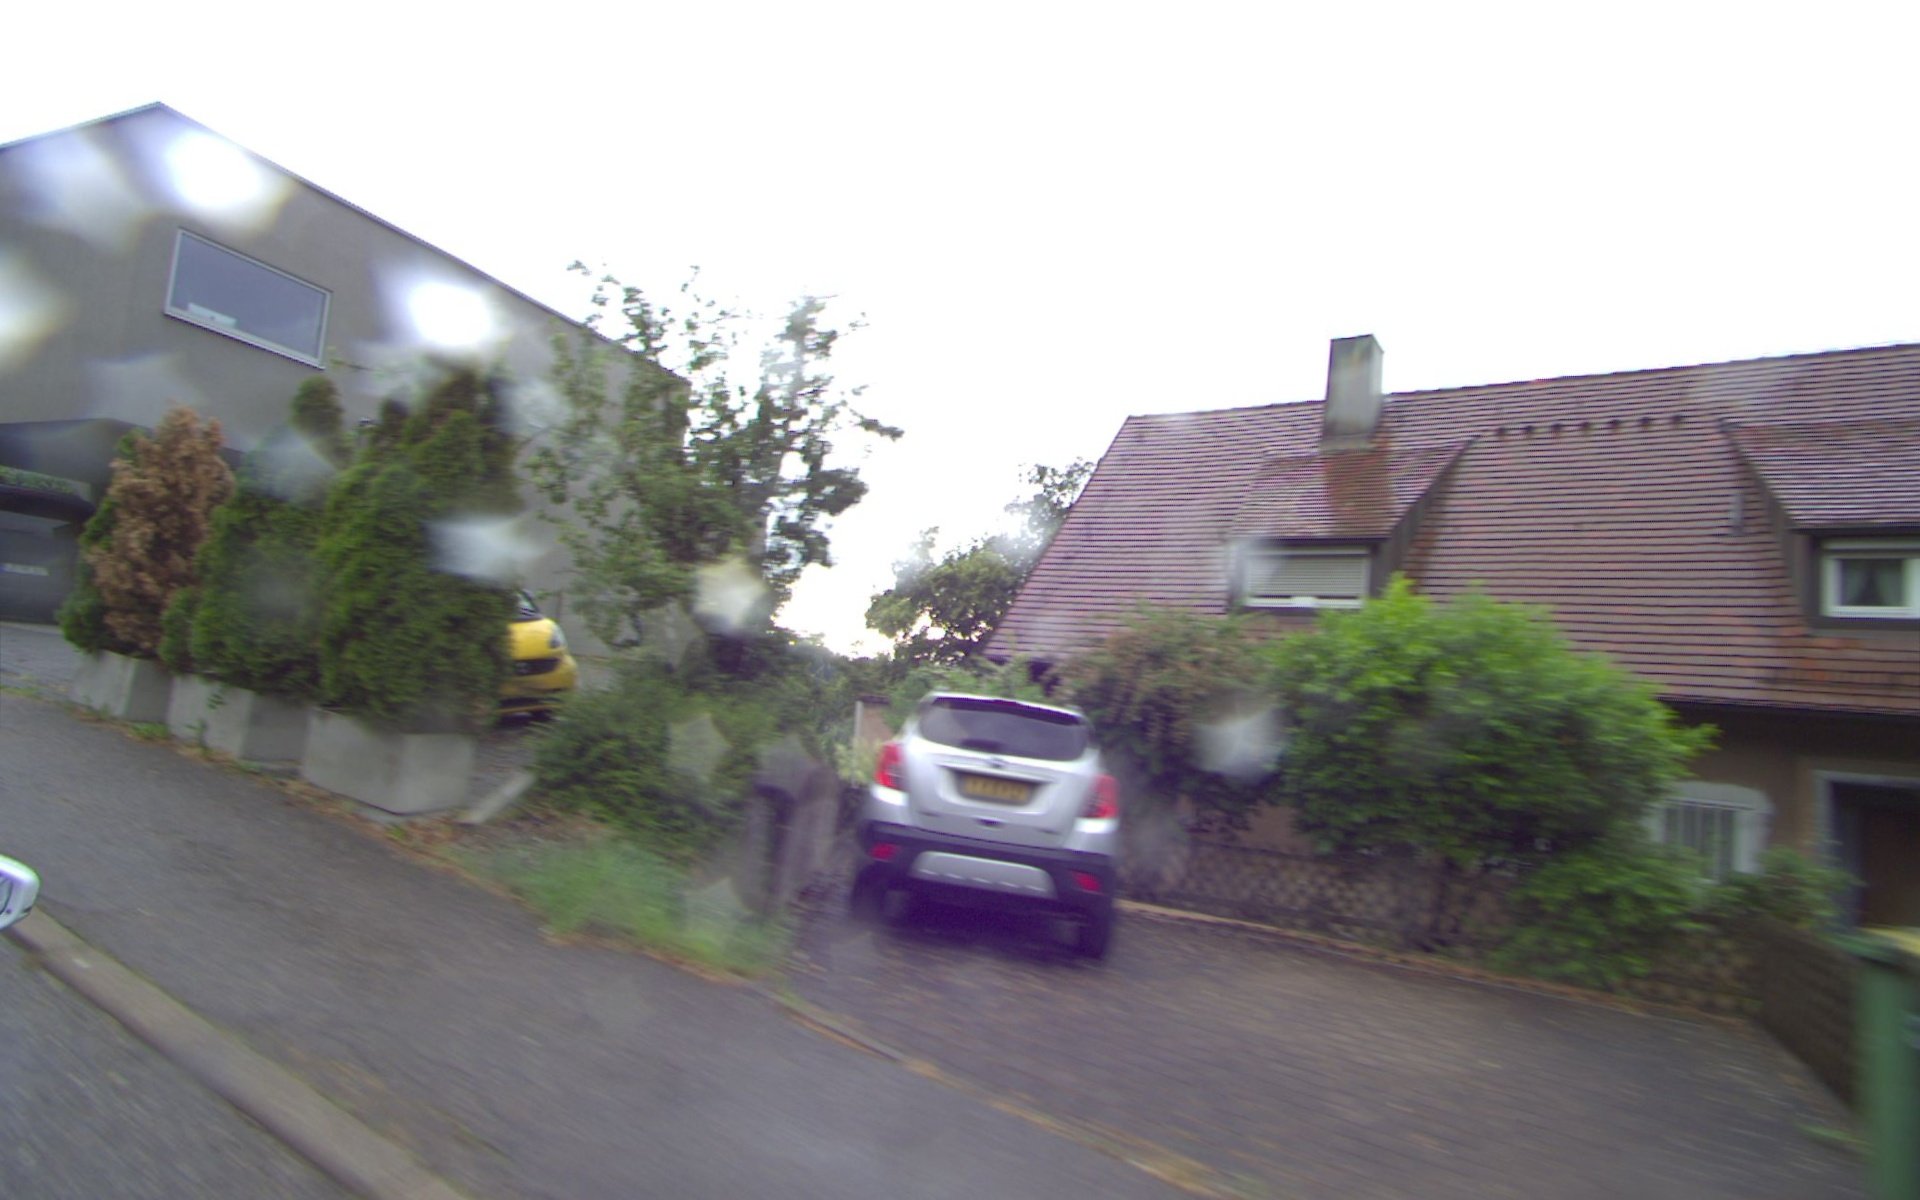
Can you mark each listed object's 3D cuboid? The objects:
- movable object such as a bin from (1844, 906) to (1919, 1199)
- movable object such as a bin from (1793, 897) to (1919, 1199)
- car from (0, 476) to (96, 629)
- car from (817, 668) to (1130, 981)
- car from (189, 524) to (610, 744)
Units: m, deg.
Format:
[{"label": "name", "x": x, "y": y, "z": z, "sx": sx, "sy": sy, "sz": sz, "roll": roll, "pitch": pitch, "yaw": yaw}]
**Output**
[{"label": "movable object such as a bin", "x": 3.302, "y": 1.635, "z": 3.192, "sx": 0.584, "sy": 1.128, "sz": 0.507, "roll": 7, "pitch": -5, "yaw": 30}, {"label": "movable object such as a bin", "x": 3.600, "y": 1.780, "z": 3.752, "sx": 0.584, "sy": 1.149, "sz": 0.524, "roll": 7, "pitch": -5, "yaw": 30}, {"label": "car", "x": -14.988, "y": -0.798, "z": 14.429, "sx": 4.688, "sy": 1.962, "sz": 2.001, "roll": 4, "pitch": -4, "yaw": 25}, {"label": "car", "x": 0.247, "y": 1.618, "z": 7.862, "sx": 1.742, "sy": 1.675, "sz": 3.791, "roll": 4, "pitch": -9, "yaw": 6}, {"label": "car", "x": -5.161, "y": 0.225, "z": 9.278, "sx": 3.364, "sy": 1.514, "sz": 1.630, "roll": 6, "pitch": 3, "yaw": 23}]
